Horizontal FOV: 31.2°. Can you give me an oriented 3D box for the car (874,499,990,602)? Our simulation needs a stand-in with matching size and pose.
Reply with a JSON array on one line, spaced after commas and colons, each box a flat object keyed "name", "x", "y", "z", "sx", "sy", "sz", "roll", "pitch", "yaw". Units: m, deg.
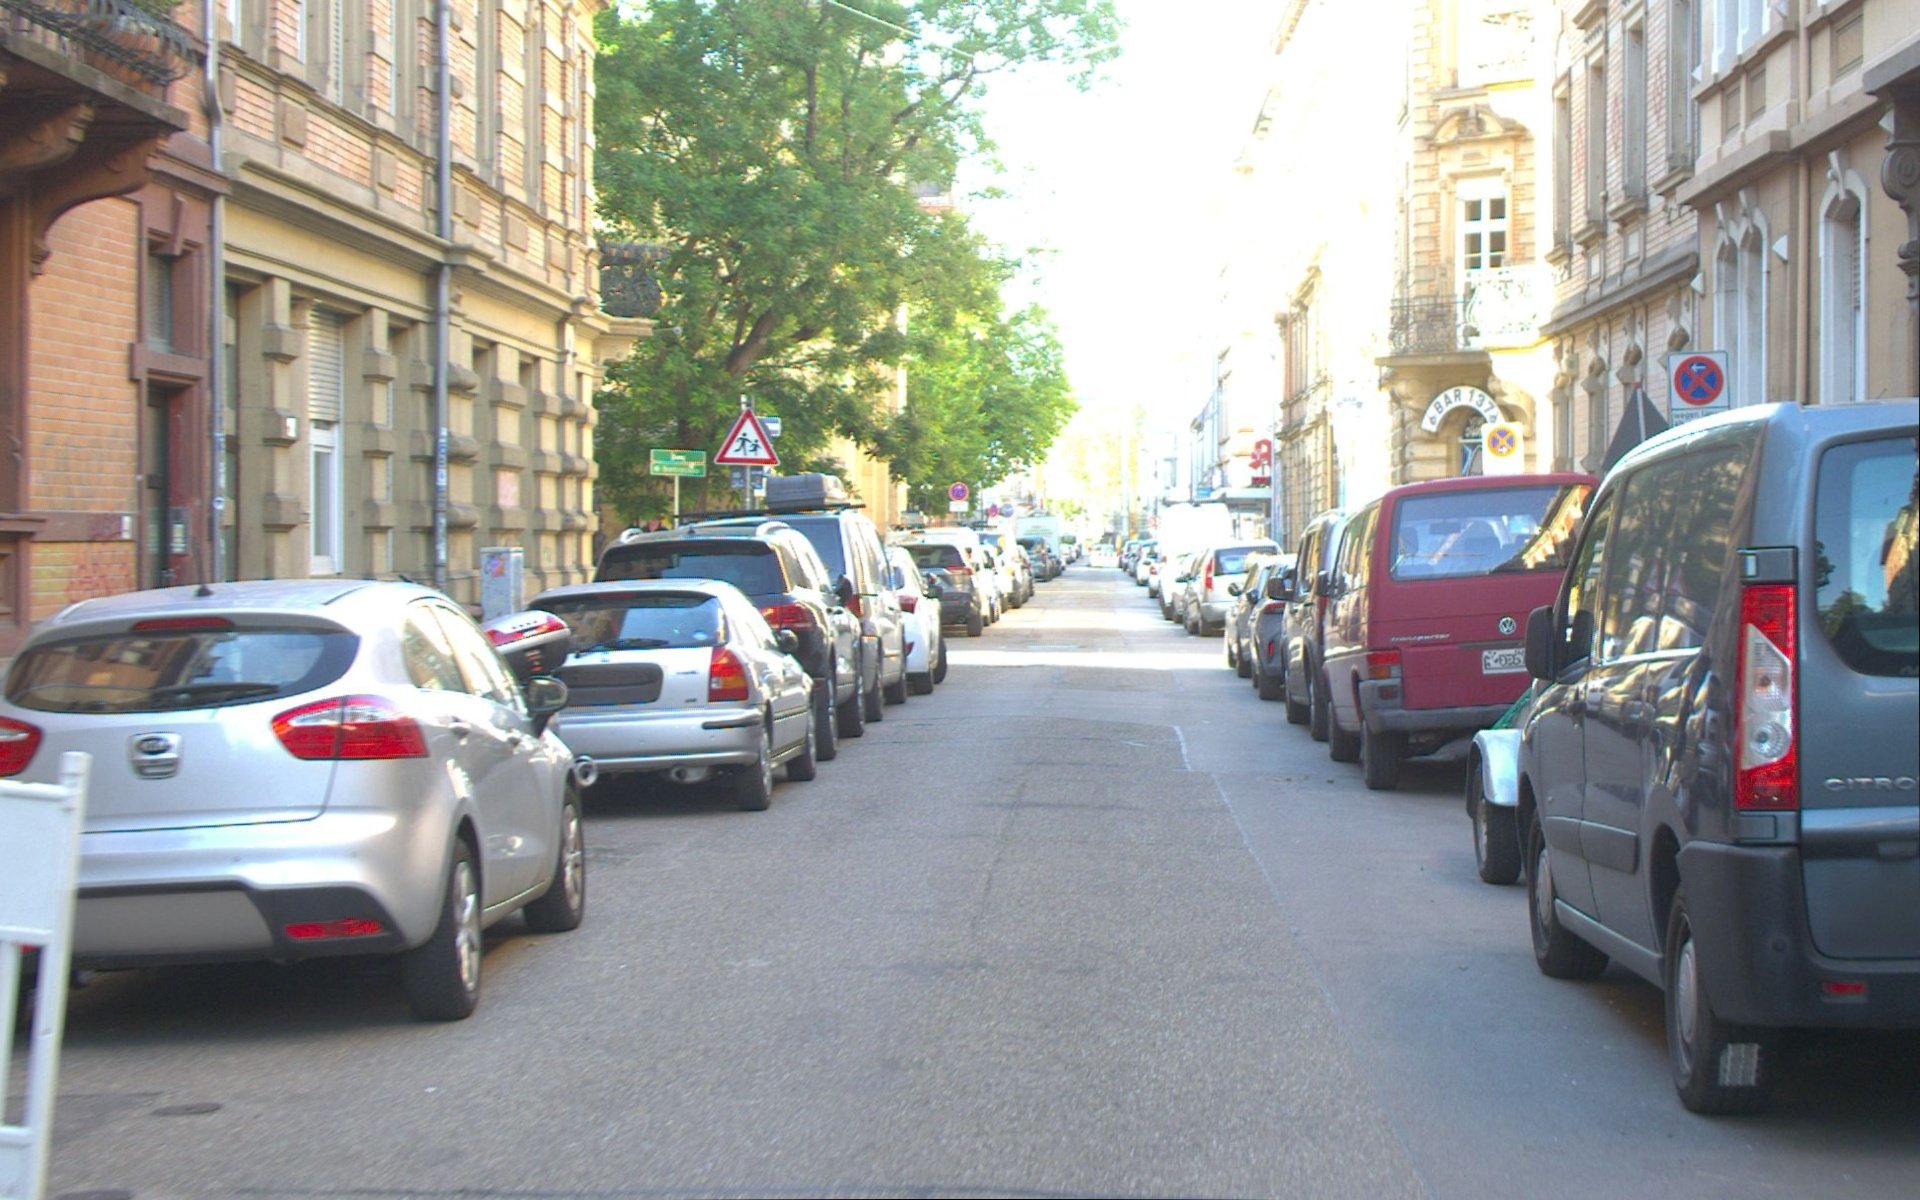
[{"name": "car", "x": -0.485, "y": -0.954, "z": 64.863, "sx": 1.846, "sy": 1.856, "sz": 4.464, "roll": 0, "pitch": 1, "yaw": 4}]

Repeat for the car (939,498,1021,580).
[{"name": "car", "x": 0.524, "y": -1.546, "z": 86.527, "sx": 1.864, "sy": 1.950, "sz": 4.610, "roll": -2, "pitch": 1, "yaw": 2}]

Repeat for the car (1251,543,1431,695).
[{"name": "car", "x": 3.972, "y": 0.157, "z": 36.309, "sx": 1.666, "sy": 1.474, "sz": 3.887, "roll": 0, "pitch": 2, "yaw": 3}]

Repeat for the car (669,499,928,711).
[{"name": "car", "x": -1.402, "y": 0.002, "z": 31.685, "sx": 1.893, "sy": 1.778, "sz": 4.607, "roll": 1, "pitch": 1, "yaw": 3}]

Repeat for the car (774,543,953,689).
[{"name": "car", "x": -0.970, "y": 0.126, "z": 36.284, "sx": 1.674, "sy": 1.415, "sz": 3.874, "roll": 1, "pitch": 1, "yaw": 1}]

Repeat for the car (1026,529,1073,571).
[{"name": "car", "x": 3.842, "y": -2.146, "z": 146.807, "sx": 1.875, "sy": 1.790, "sz": 4.000, "roll": 0, "pitch": 1, "yaw": 3}]

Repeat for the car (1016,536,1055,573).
[{"name": "car", "x": 3.686, "y": -2.226, "z": 168.594, "sx": 1.875, "sy": 1.790, "sz": 4.000, "roll": 0, "pitch": 1, "yaw": 1}]

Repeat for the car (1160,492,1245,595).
[{"name": "car", "x": 6.317, "y": -1.492, "z": 90.107, "sx": 2.068, "sy": 2.602, "sz": 5.887, "roll": 0, "pitch": 1, "yaw": 3}]

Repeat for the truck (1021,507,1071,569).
[{"name": "truck", "x": 4.654, "y": -3.358, "z": 185.040, "sx": 2.532, "sy": 3.270, "sz": 6.994, "roll": 0, "pitch": 1, "yaw": 3}]

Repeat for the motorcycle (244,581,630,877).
[{"name": "motorcycle", "x": -2.657, "y": 0.624, "z": 17.262, "sx": 0.842, "sy": 1.355, "sz": 2.196, "roll": -4, "pitch": 1, "yaw": -40}]

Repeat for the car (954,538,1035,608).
[{"name": "car", "x": 0.826, "y": -0.656, "z": 80.561, "sx": 1.742, "sy": 1.581, "sz": 3.869, "roll": 0, "pitch": 1, "yaw": 3}]

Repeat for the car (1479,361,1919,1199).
[{"name": "car", "x": 2.782, "y": 0.409, "z": 10.378, "sx": 1.845, "sy": 1.977, "sz": 4.576, "roll": 2, "pitch": 1, "yaw": 2}]

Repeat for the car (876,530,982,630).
[{"name": "car", "x": -0.502, "y": -0.380, "z": 59.271, "sx": 1.740, "sy": 1.641, "sz": 4.289, "roll": 0, "pitch": 1, "yaw": 0}]

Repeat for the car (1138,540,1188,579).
[{"name": "car", "x": 7.929, "y": -1.610, "z": 134.625, "sx": 1.898, "sy": 1.483, "sz": 3.869, "roll": 0, "pitch": 1, "yaw": 3}]

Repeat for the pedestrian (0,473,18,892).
[{"name": "pedestrian", "x": -4.373, "y": 0.353, "z": 14.243, "sx": 0.685, "sy": 1.759, "sz": 0.887, "roll": 0, "pitch": 1, "yaw": 0}]

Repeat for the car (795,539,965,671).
[{"name": "car", "x": -0.915, "y": 0.019, "z": 41.351, "sx": 1.723, "sy": 1.476, "sz": 4.089, "roll": 1, "pitch": 1, "yaw": 3}]

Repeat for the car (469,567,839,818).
[{"name": "car", "x": -1.797, "y": 0.502, "z": 21.334, "sx": 1.699, "sy": 1.309, "sz": 4.000, "roll": 3, "pitch": 1, "yaw": 3}]

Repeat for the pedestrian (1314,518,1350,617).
[{"name": "pedestrian", "x": 6.568, "y": -0.573, "z": 60.732, "sx": 0.574, "sy": 1.727, "sz": 0.664, "roll": -1, "pitch": 1, "yaw": 6}]

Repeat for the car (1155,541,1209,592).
[{"name": "car", "x": 6.857, "y": -1.052, "z": 105.916, "sx": 1.604, "sy": 1.499, "sz": 4.000, "roll": 1, "pitch": 1, "yaw": 4}]

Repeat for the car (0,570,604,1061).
[{"name": "car", "x": -2.409, "y": 0.642, "z": 12.420, "sx": 1.674, "sy": 1.414, "sz": 4.000, "roll": -2, "pitch": 1, "yaw": 2}]

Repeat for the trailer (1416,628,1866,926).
[{"name": "trailer", "x": 3.112, "y": 0.767, "z": 16.222, "sx": 1.505, "sy": 1.109, "sz": 3.039, "roll": 3, "pitch": 1, "yaw": 1}]

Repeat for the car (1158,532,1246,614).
[{"name": "car", "x": 5.282, "y": -0.595, "z": 75.365, "sx": 1.808, "sy": 1.684, "sz": 4.214, "roll": 2, "pitch": 1, "yaw": 3}]

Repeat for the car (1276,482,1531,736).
[{"name": "car", "x": 3.685, "y": 0.029, "z": 29.211, "sx": 1.770, "sy": 1.954, "sz": 4.264, "roll": 1, "pitch": 1, "yaw": 3}]

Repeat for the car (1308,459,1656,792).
[{"name": "car", "x": 3.447, "y": 0.108, "z": 23.508, "sx": 1.832, "sy": 2.007, "sz": 4.741, "roll": 1, "pitch": 1, "yaw": 3}]

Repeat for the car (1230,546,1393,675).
[{"name": "car", "x": 4.240, "y": 0.084, "z": 42.005, "sx": 1.706, "sy": 1.454, "sz": 4.511, "roll": 1, "pitch": 1, "yaw": 3}]

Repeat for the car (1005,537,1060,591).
[{"name": "car", "x": 2.275, "y": -1.142, "z": 107.595, "sx": 1.600, "sy": 1.608, "sz": 3.808, "roll": -3, "pitch": 1, "yaw": 2}]

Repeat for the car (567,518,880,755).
[{"name": "car", "x": -1.714, "y": 0.217, "z": 26.373, "sx": 1.788, "sy": 1.619, "sz": 4.607, "roll": 1, "pitch": 1, "yaw": 3}]

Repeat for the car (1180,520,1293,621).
[{"name": "car", "x": 4.853, "y": -0.543, "z": 60.787, "sx": 1.703, "sy": 1.708, "sz": 3.938, "roll": -1, "pitch": 1, "yaw": 1}]

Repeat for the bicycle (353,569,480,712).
[{"name": "bicycle", "x": -4.584, "y": 0.325, "z": 29.081, "sx": 0.667, "sy": 1.121, "sz": 1.785, "roll": 2, "pitch": 2, "yaw": 3}]

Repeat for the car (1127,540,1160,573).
[{"name": "car", "x": 11.251, "y": -2.657, "z": 210.815, "sx": 1.994, "sy": 2.007, "sz": 4.000, "roll": 0, "pitch": 1, "yaw": 3}]
